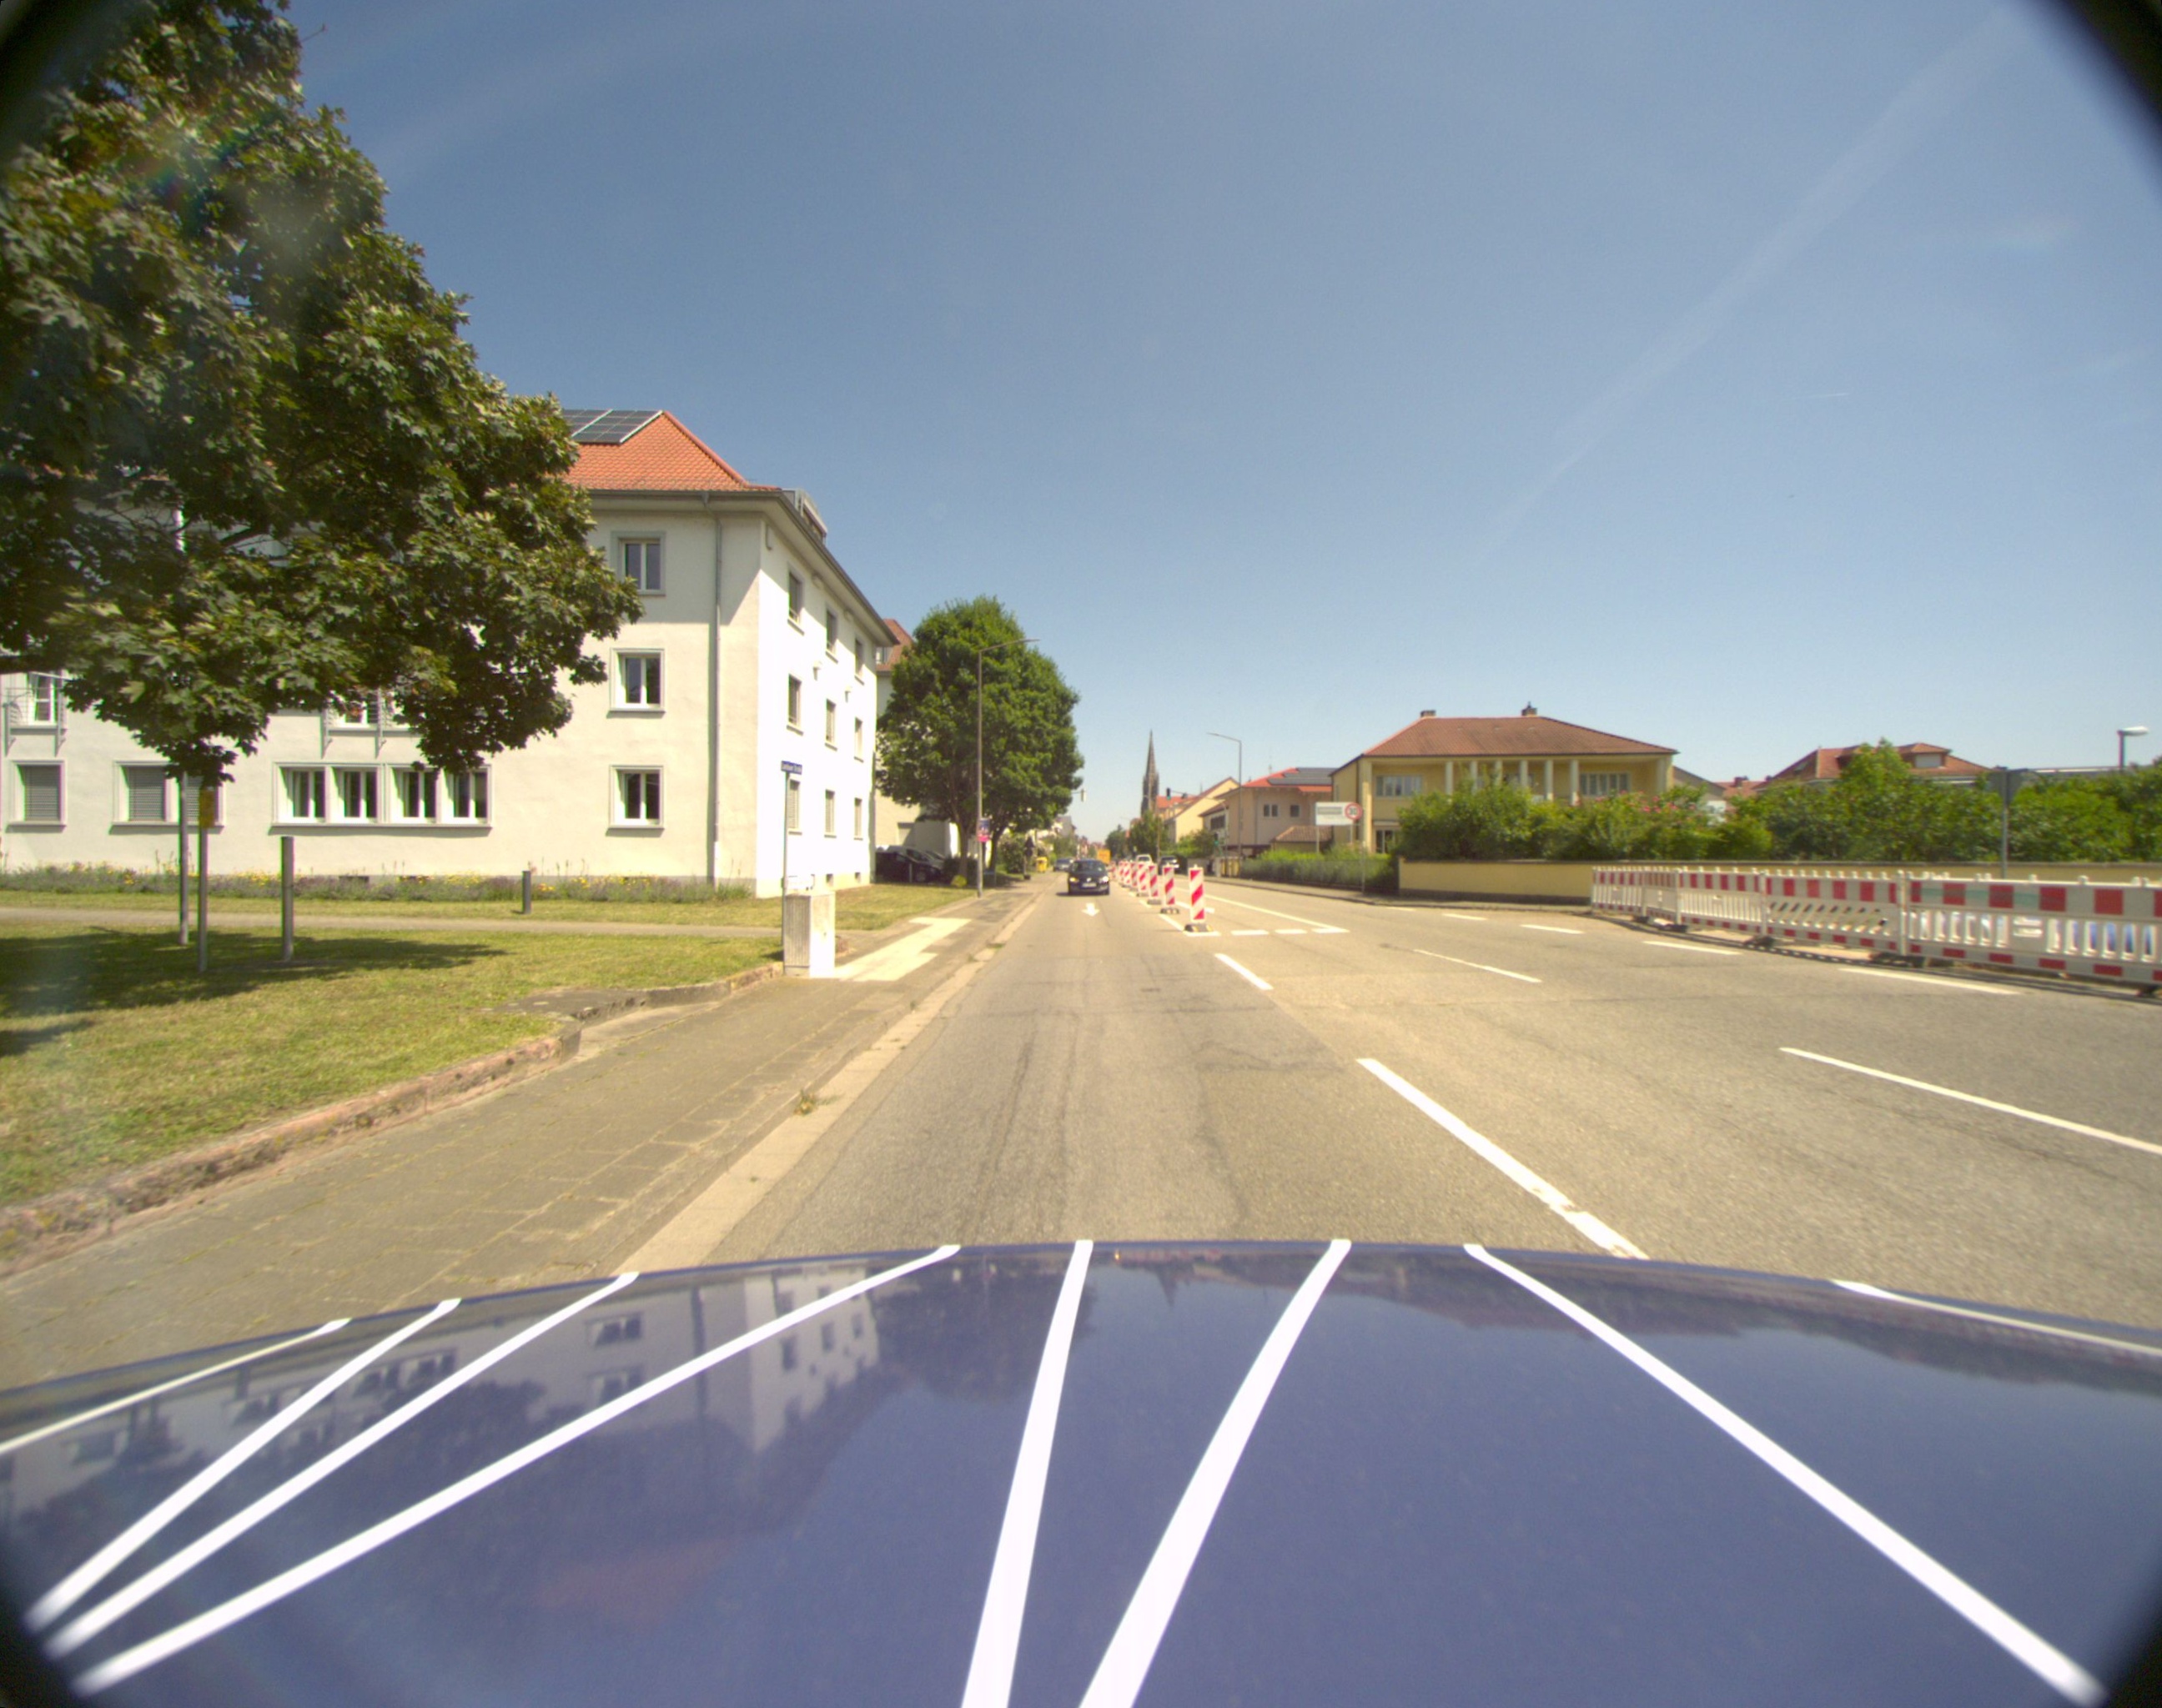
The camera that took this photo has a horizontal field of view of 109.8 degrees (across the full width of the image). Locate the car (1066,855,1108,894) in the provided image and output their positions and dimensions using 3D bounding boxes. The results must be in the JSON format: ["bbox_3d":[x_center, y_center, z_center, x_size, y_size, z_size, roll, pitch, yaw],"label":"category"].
[{"bbox_3d":[0.300,0.795,31.318,1.607,1.436,3.910,-1,0,2],"label":"car"}]

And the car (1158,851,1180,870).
[{"bbox_3d":[7.450,0.573,64.775,1.390,1.568,3.321,1,0,-1],"label":"car"}]

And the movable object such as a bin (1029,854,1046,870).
[{"bbox_3d":[-4.073,0.711,71.041,1.499,1.472,1.423,1,0,-1],"label":"movable object such as a bin"}]

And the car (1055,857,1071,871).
[{"bbox_3d":[-1.858,1.012,80.171,1.607,1.403,3.909,-1,0,0],"label":"car"}]

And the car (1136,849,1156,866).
[{"bbox_3d":[7.226,0.390,84.734,1.718,1.776,3.889,1,0,-1],"label":"car"}]

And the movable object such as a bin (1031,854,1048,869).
[{"bbox_3d":[-3.974,0.711,72.635,1.499,1.472,1.423,1,0,-1],"label":"movable object such as a bin"}]

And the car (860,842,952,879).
[{"bbox_3d":[-9.212,0.337,40.254,4.367,1.776,1.999,2,0,-3],"label":"car"}]

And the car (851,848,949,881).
[{"bbox_3d":[-8.863,0.528,37.520,4.367,1.427,1.999,2,0,-3],"label":"car"}]

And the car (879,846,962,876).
[{"bbox_3d":[-9.155,0.407,43.664,4.367,1.517,1.999,2,0,-3],"label":"car"}]

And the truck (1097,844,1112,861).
[{"bbox_3d":[4.000,-0.253,129.858,2.222,2.920,5.350,1,0,-1],"label":"truck"}]

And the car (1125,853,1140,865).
[{"bbox_3d":[6.954,0.608,102.766,1.624,1.595,3.513,1,0,-1],"label":"car"}]
